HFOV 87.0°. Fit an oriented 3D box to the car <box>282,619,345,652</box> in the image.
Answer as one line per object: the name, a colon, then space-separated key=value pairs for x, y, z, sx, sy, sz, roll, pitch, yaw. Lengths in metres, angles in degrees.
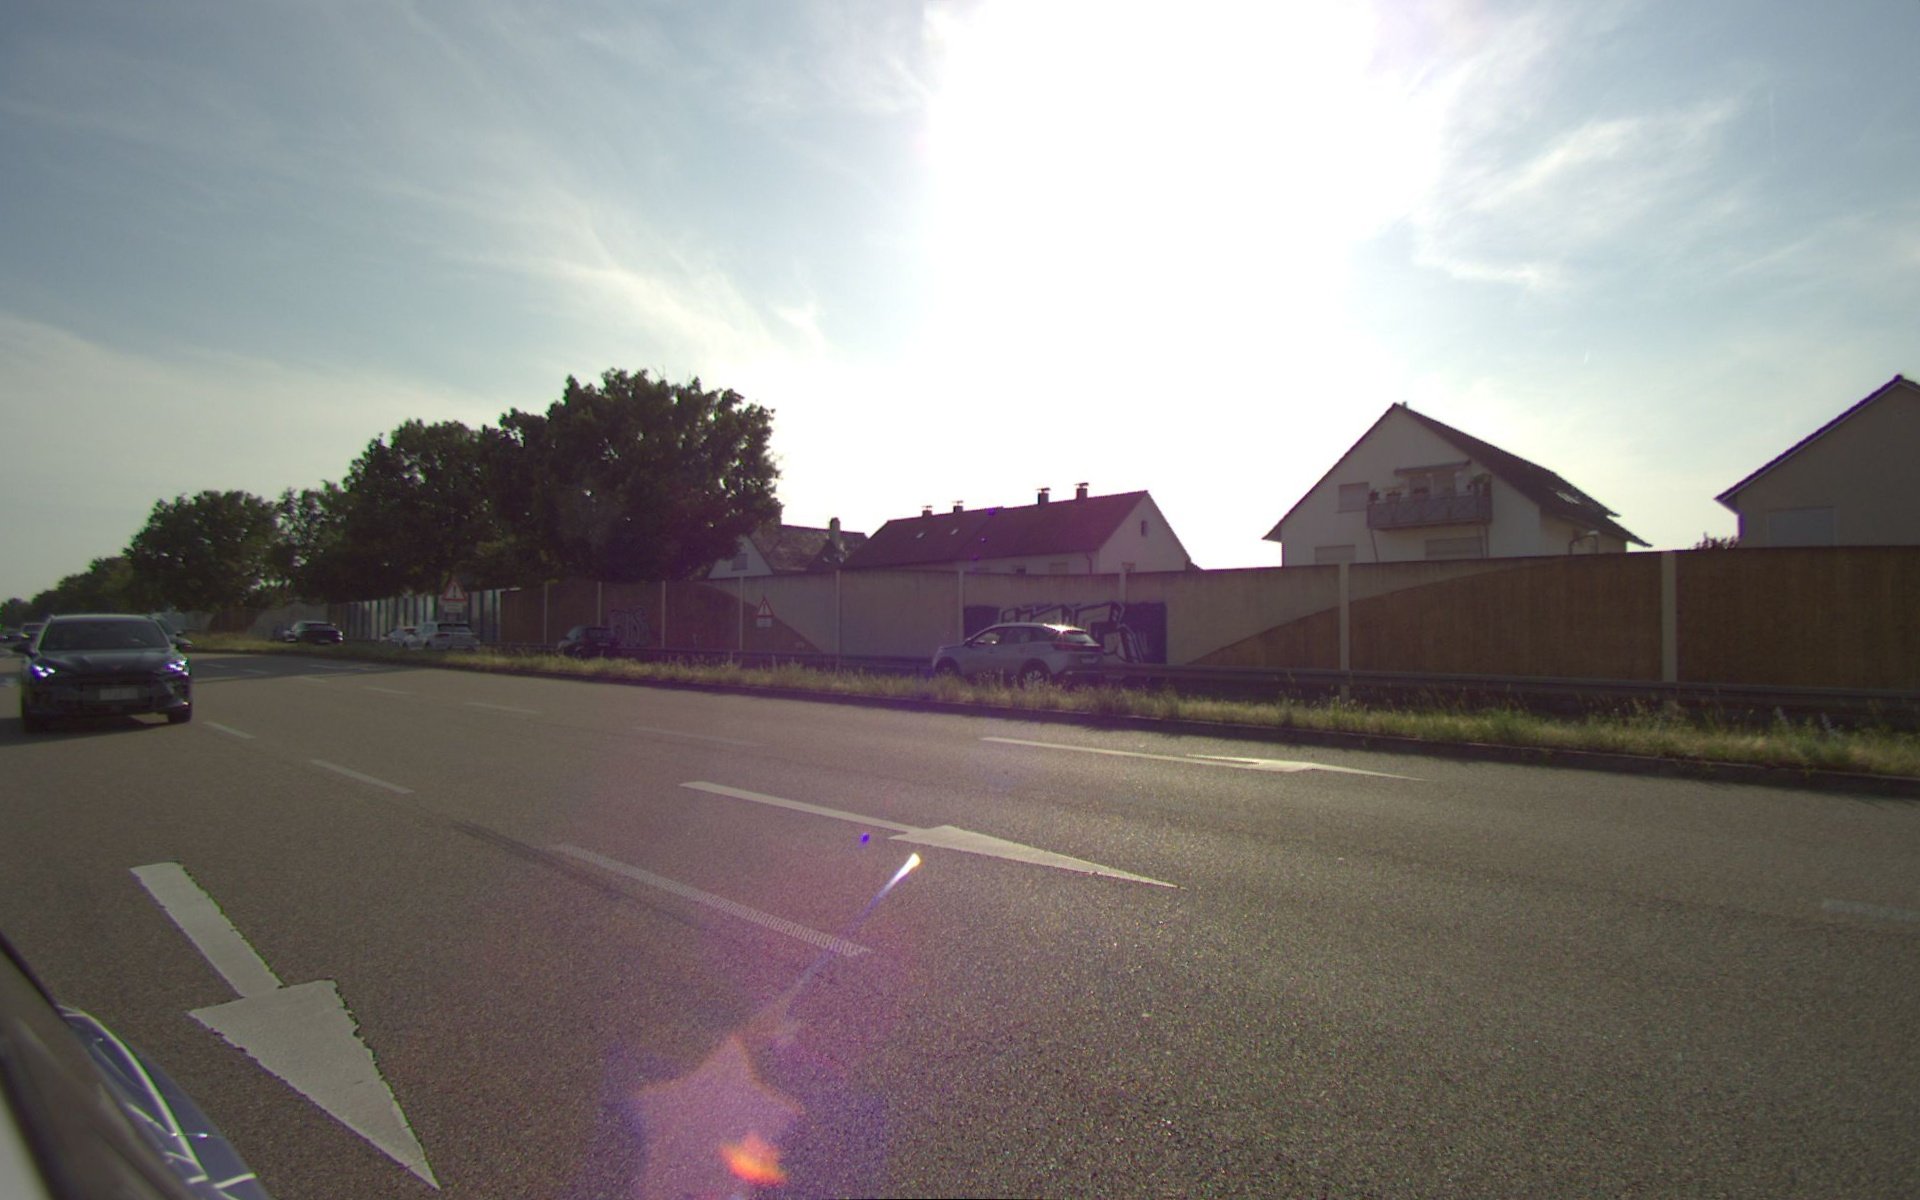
car: x=-34.098 y=1.853 z=53.358 sx=4.924 sy=1.637 sz=1.711 roll=-2 pitch=-1 yaw=44

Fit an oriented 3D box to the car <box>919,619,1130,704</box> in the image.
car: x=1.369 y=1.330 z=22.998 sx=4.591 sy=1.678 sz=1.955 roll=-2 pitch=-1 yaw=44

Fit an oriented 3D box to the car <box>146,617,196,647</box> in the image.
car: x=-66.011 y=2.658 z=84.625 sx=7.193 sy=2.321 sz=2.322 roll=-2 pitch=-1 yaw=44

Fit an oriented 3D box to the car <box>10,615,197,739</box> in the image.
car: x=-12.842 y=1.046 z=15.074 sx=1.796 sy=1.536 sz=4.249 roll=-1 pitch=-1 yaw=-45

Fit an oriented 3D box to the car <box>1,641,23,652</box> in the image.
car: x=-100.984 y=4.957 z=107.818 sx=3.650 sy=1.165 sz=1.476 roll=-2 pitch=-1 yaw=44

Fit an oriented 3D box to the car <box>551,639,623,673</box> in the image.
car: x=-14.283 y=2.117 z=38.723 sx=1.457 sy=1.172 sz=3.063 roll=-1 pitch=-1 yaw=-45

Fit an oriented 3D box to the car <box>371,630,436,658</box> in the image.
car: x=-28.959 y=2.287 z=52.626 sx=1.760 sy=1.333 sz=4.607 roll=-1 pitch=-1 yaw=-45

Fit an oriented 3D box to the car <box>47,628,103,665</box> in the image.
car: x=-42.980 y=2.216 z=49.121 sx=4.002 sy=1.683 sz=1.797 roll=-2 pitch=-1 yaw=45

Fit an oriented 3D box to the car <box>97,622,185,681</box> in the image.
car: x=-26.317 y=1.607 z=32.478 sx=1.797 sy=1.747 sz=4.002 roll=-1 pitch=-1 yaw=-45

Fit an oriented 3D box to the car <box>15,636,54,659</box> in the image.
car: x=-64.657 y=3.318 z=70.658 sx=4.001 sy=1.519 sz=1.784 roll=-2 pitch=-1 yaw=44

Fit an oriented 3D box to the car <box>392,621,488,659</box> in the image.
car: x=-20.014 y=1.516 z=38.857 sx=4.715 sy=1.331 sz=1.852 roll=-2 pitch=-1 yaw=44

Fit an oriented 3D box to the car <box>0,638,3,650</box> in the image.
car: x=-130.844 y=5.988 z=136.894 sx=4.001 sy=1.696 sz=1.799 roll=-2 pitch=-1 yaw=44
